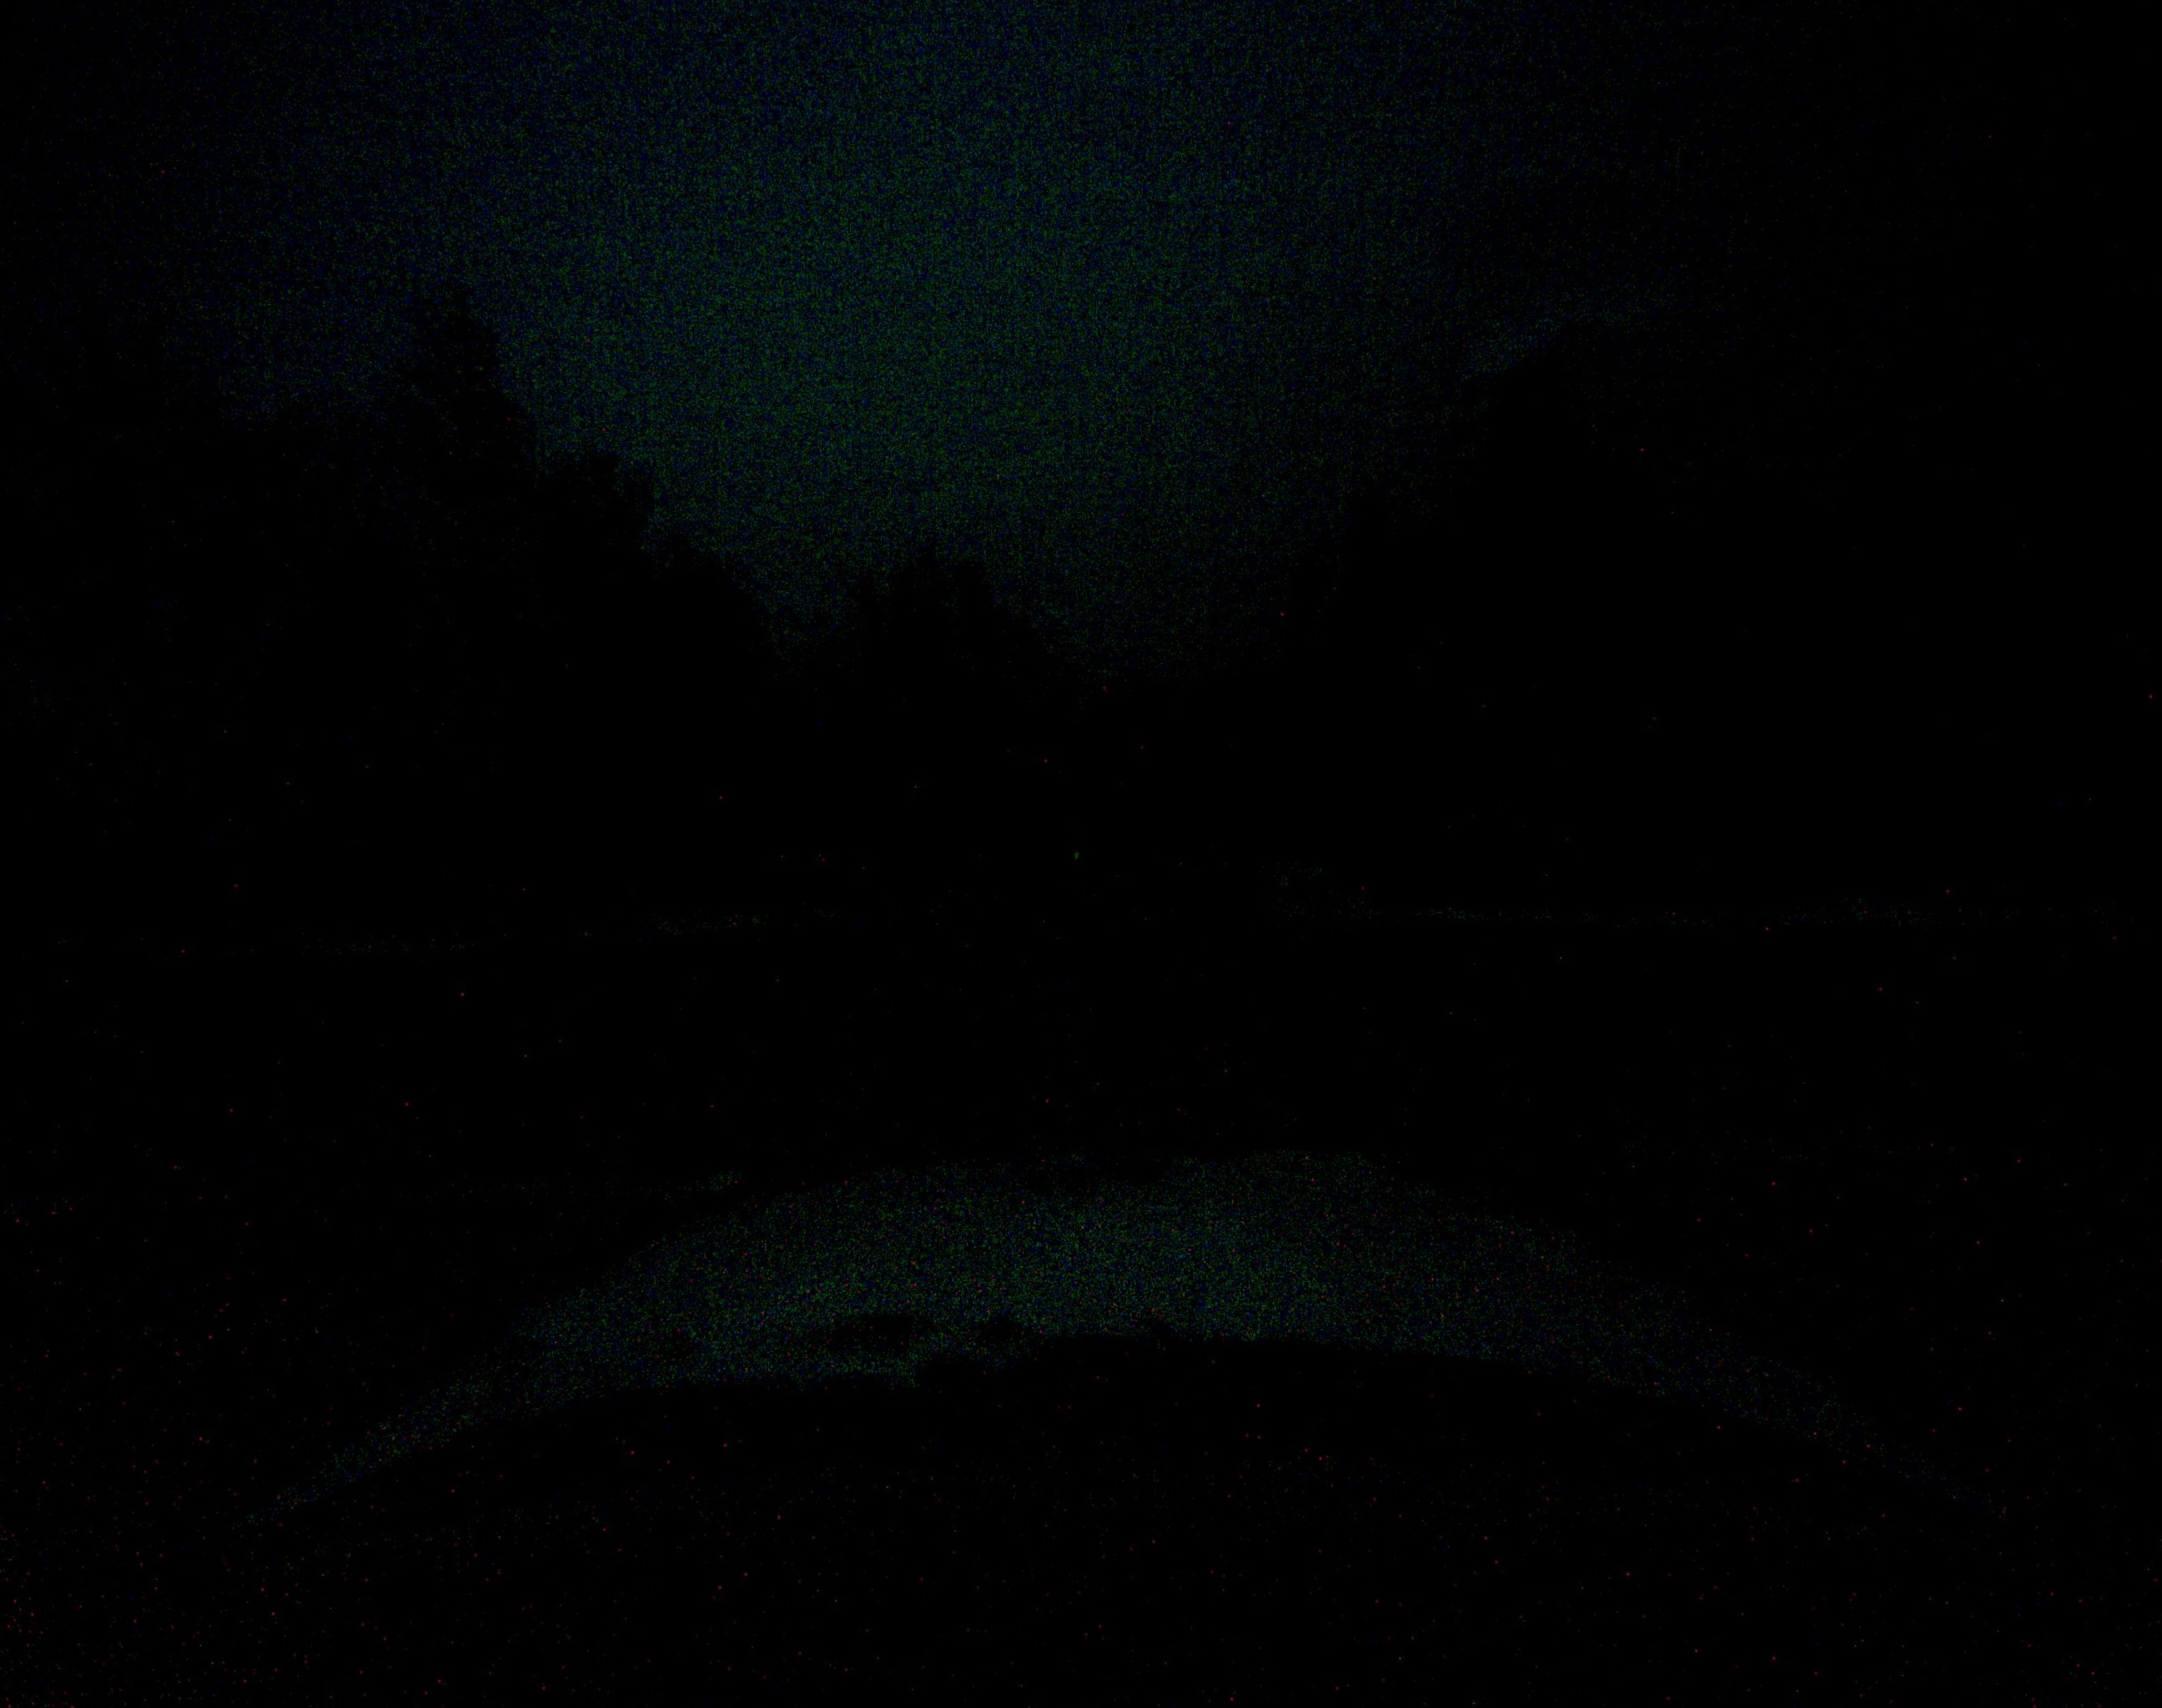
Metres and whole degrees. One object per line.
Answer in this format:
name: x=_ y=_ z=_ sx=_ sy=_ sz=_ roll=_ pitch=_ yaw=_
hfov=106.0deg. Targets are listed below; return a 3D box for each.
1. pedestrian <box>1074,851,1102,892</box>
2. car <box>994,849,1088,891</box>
pedestrian: x=0.323 y=0.782 z=36.616 sx=0.952 sy=1.828 sz=0.930 roll=-1 pitch=-2 yaw=23
car: x=-1.833 y=0.747 z=37.821 sx=3.915 sy=1.881 sz=2.009 roll=0 pitch=-2 yaw=18
